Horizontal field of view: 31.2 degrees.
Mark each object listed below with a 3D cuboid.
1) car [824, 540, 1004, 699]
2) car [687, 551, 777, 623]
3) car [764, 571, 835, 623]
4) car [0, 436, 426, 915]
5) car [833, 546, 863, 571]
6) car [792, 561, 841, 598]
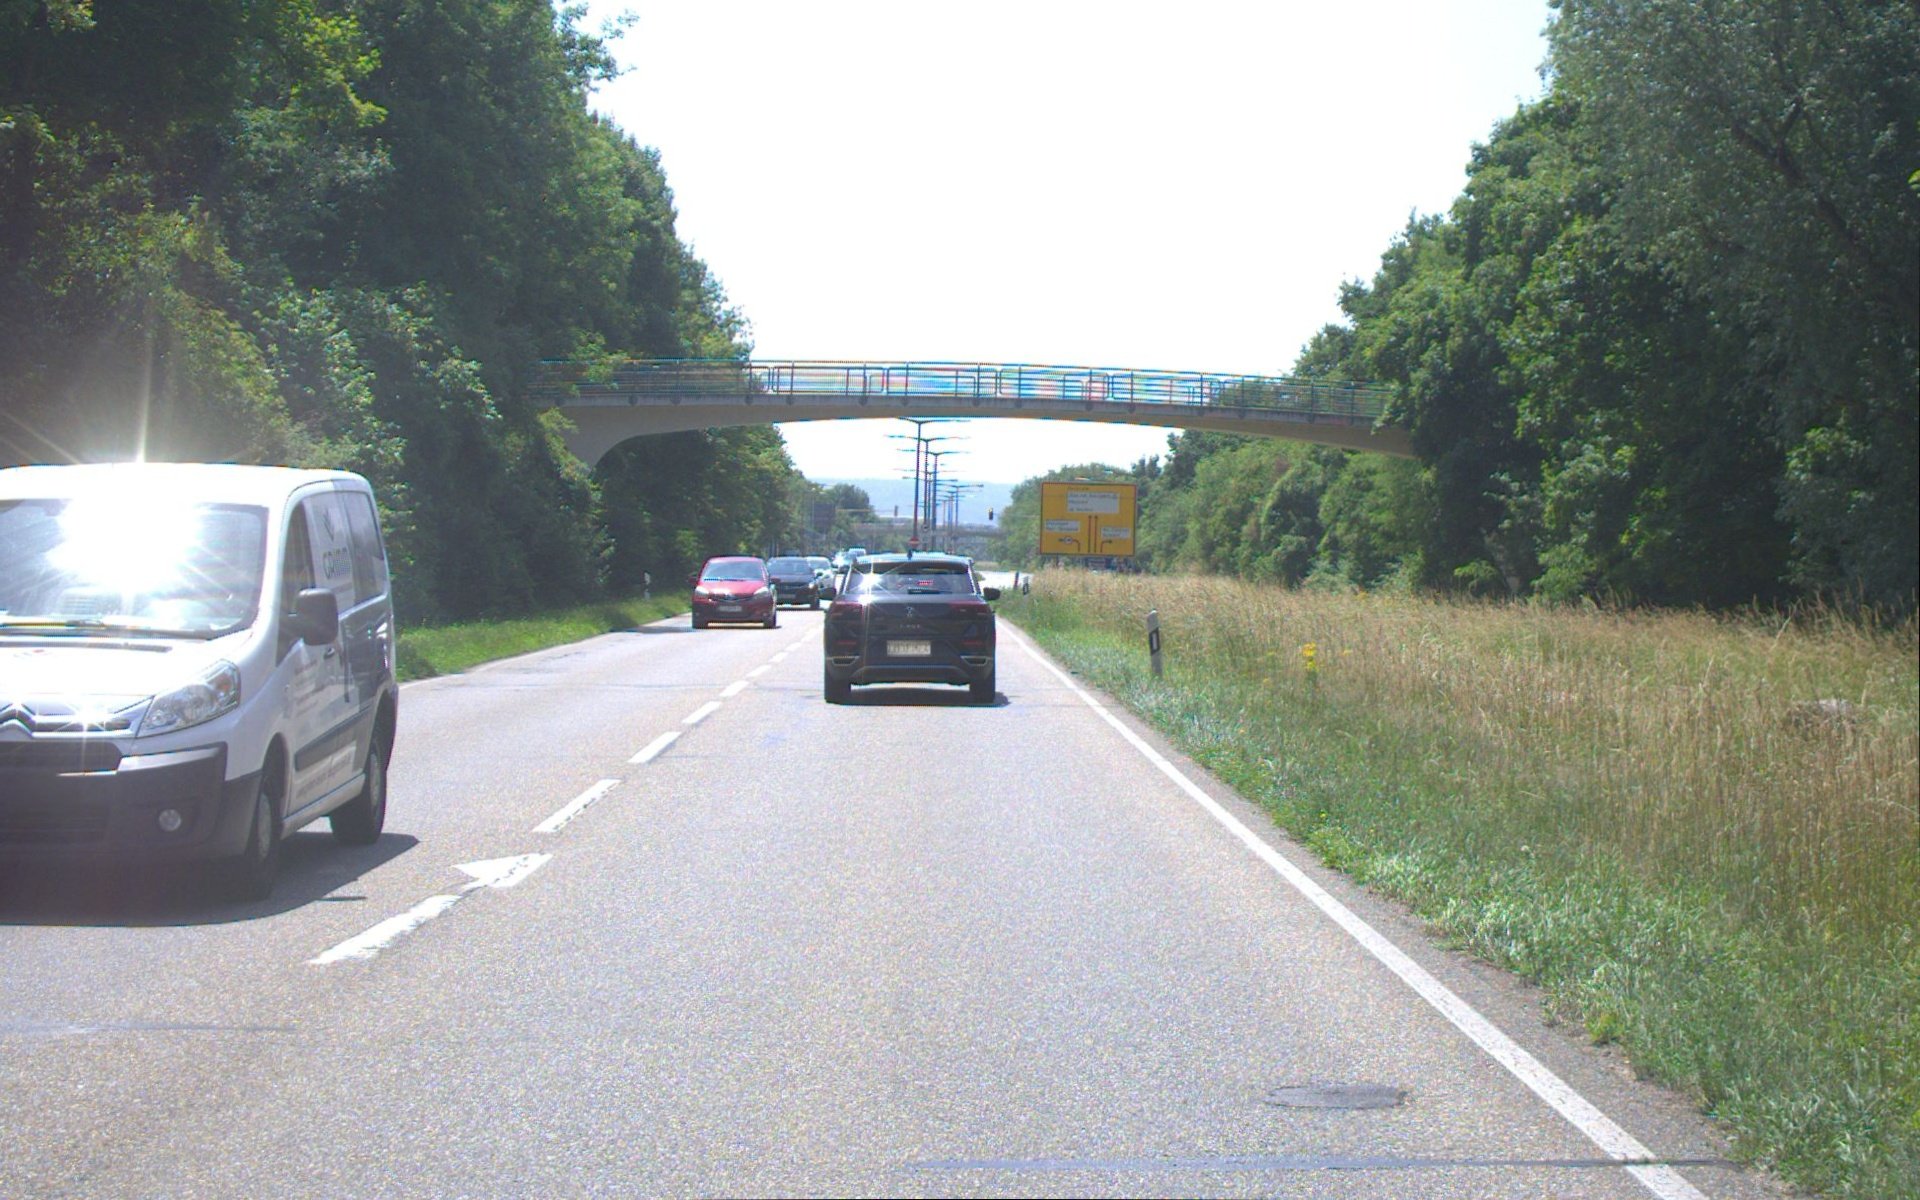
[{"bbox_3d":[-0.522,0.183,36.553,1.755,1.551,4.000,2,0,-2],"label":"car"},{"bbox_3d":[-4.798,-0.299,72.693,1.682,1.488,4.000,0,1,0],"label":"car"},{"bbox_3d":[-4.603,-0.110,99.309,1.784,1.445,4.109,0,1,1],"label":"car"},{"bbox_3d":[-3.854,0.275,16.365,1.875,1.922,4.987,1,1,-1],"label":"car"},{"bbox_3d":[-7.249,-2.704,223.406,1.823,1.584,4.419,0,1,0],"label":"car"},{"bbox_3d":[-5.499,-0.796,131.788,1.677,1.428,3.772,0,1,1],"label":"car"}]
